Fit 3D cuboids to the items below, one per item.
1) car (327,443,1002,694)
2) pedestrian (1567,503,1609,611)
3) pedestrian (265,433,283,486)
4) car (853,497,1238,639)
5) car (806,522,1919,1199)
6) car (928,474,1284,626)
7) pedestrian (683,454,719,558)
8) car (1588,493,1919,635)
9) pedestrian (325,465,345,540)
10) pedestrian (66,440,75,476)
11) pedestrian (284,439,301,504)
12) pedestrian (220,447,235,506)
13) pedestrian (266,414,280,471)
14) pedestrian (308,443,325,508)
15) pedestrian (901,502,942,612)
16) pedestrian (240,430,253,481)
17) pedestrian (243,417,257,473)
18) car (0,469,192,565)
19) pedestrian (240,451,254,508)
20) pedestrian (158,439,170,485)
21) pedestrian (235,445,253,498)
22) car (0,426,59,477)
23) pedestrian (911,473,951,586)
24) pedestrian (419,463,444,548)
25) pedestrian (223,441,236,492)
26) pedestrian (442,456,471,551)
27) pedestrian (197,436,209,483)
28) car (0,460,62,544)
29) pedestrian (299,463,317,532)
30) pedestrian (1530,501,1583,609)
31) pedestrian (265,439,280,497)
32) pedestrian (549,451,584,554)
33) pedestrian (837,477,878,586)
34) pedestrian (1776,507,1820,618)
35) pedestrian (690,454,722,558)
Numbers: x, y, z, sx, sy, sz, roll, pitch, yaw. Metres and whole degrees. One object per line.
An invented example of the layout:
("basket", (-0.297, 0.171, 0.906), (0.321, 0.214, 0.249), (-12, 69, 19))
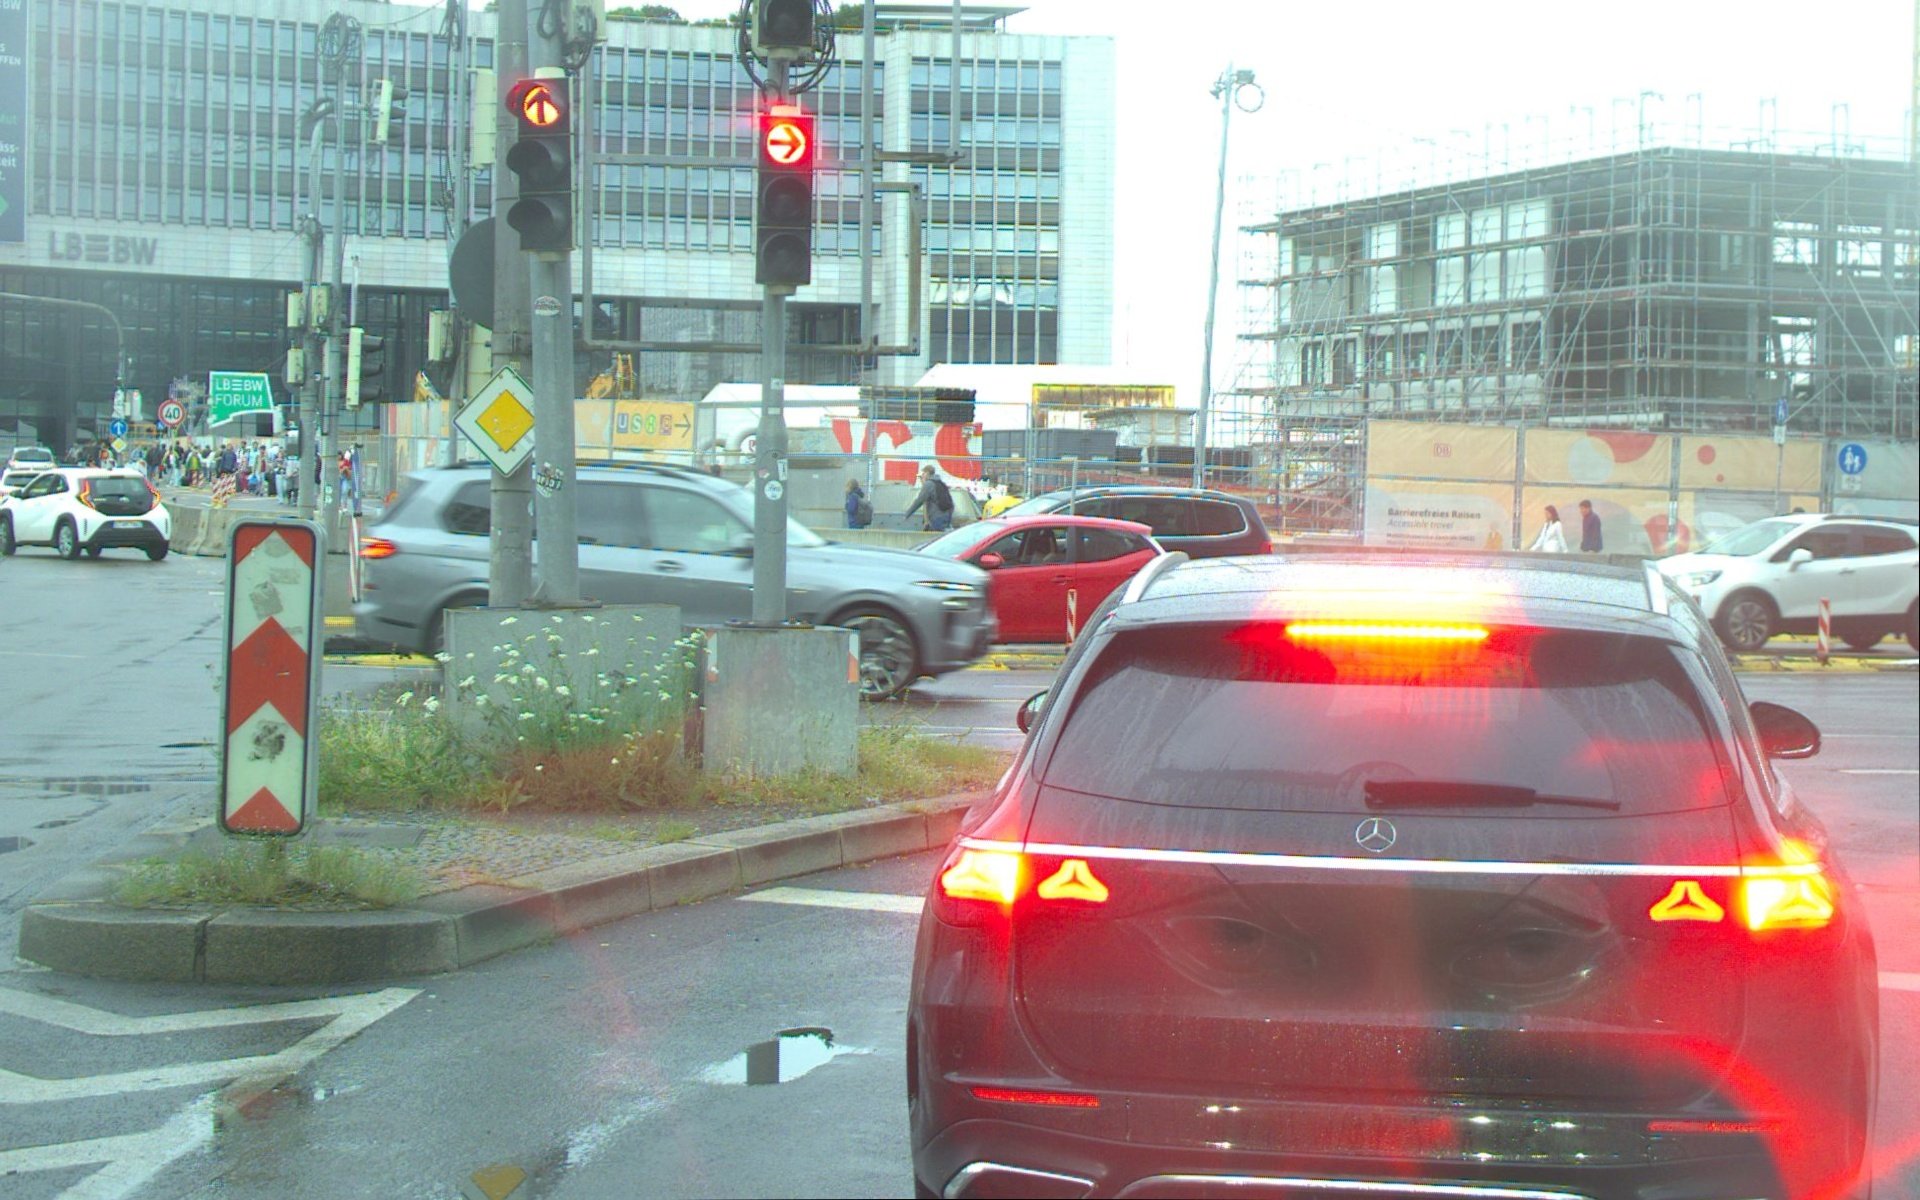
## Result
("car", (-2.320, -0.258, 27.792), (5.087, 1.791, 1.999), (2, 0, 7))
("pedestrian", (11.053, -0.755, 60.525), (0.574, 1.891, 0.362), (2, 0, -11))
("pedestrian", (-25.130, -5.137, 125.964), (0.519, 1.891, 0.576), (2, 0, -18))
("car", (0.862, -0.320, 35.184), (3.532, 1.300, 1.666), (2, 0, -19))
("car", (0.860, 0.669, 7.680), (1.891, 1.538, 3.993), (2, 0, 5))
("car", (1.814, -0.614, 43.246), (3.985, 1.728, 2.001), (2, 0, -16))
("pedestrian", (-4.733, -1.717, 62.802), (0.361, 1.891, 0.576), (2, 0, -34))
("car", (9.848, -0.410, 41.237), (4.039, 1.547, 2.001), (2, 0, -19))
("pedestrian", (-15.836, -2.468, 87.165), (0.361, 1.891, 0.576), (2, 0, -18))
("pedestrian", (-47.675, -7.615, 184.250), (0.361, 1.891, 0.576), (2, 0, -15))
("pedestrian", (-19.557, -3.757, 100.723), (0.361, 1.891, 0.576), (2, 0, -18))
("pedestrian", (-23.993, -4.043, 112.570), (0.361, 1.891, 0.576), (2, 0, -18))
("pedestrian", (-23.176, -5.305, 115.959), (0.361, 1.891, 0.576), (2, 0, -18))
("pedestrian", (-18.860, -3.649, 100.758), (0.361, 1.891, 0.576), (2, 0, -18))
("pedestrian", (-0.669, -0.746, 59.888), (0.575, 1.891, 0.362), (2, 0, 13))
("pedestrian", (-27.032, -5.479, 130.270), (0.361, 1.891, 0.576), (2, 0, -18))
("pedestrian", (-24.583, -5.362, 119.075), (0.361, 1.891, 0.576), (2, 0, -18))
("car", (-14.306, -1.363, 56.607), (1.781, 1.468, 3.558), (2, 0, -39))
("pedestrian", (-23.973, -4.051, 115.583), (0.361, 1.891, 0.576), (2, 0, -14))
("pedestrian", (-32.963, -5.717, 142.423), (0.361, 1.891, 0.576), (2, 0, -18))
("pedestrian", (-25.812, -4.618, 123.890), (0.519, 1.891, 0.576), (2, 0, -18))
("car", (-33.577, -5.352, 123.667), (1.727, 1.634, 3.436), (2, 3, -22))
("pedestrian", (-0.496, -1.198, 58.440), (0.574, 1.891, 0.362), (2, 0, -8))
("pedestrian", (-11.834, -2.106, 76.947), (0.361, 1.891, 0.576), (2, 0, -22))
("pedestrian", (-27.655, -5.037, 130.089), (0.361, 1.891, 0.576), (2, 0, -18))
("pedestrian", (-10.055, -1.925, 68.629), (0.361, 1.891, 0.576), (2, 0, -26))
("pedestrian", (-30.887, -5.728, 140.185), (0.361, 1.891, 0.576), (2, 0, -18))
("car", (-21.102, -2.145, 75.959), (1.993, 1.760, 4.420), (2, 0, -20))
("pedestrian", (-18.001, -2.827, 94.919), (0.361, 1.891, 0.576), (2, 0, -18))
("pedestrian", (10.632, -0.797, 61.291), (0.655, 1.895, 0.632), (2, 0, -14))
("pedestrian", (-22.843, -4.393, 114.237), (0.361, 1.891, 0.576), (2, 0, -18))
("pedestrian", (-7.326, -1.808, 64.012), (0.361, 1.891, 0.576), (2, 0, -33))
("pedestrian", (-1.789, -1.196, 60.081), (0.575, 1.891, 0.362), (2, 0, 13))
("pedestrian", (14.525, -0.646, 59.570), (0.574, 1.891, 0.362), (2, 0, -11))
("pedestrian", (-4.648, -1.714, 62.802), (0.361, 1.891, 0.576), (2, 0, -22))
